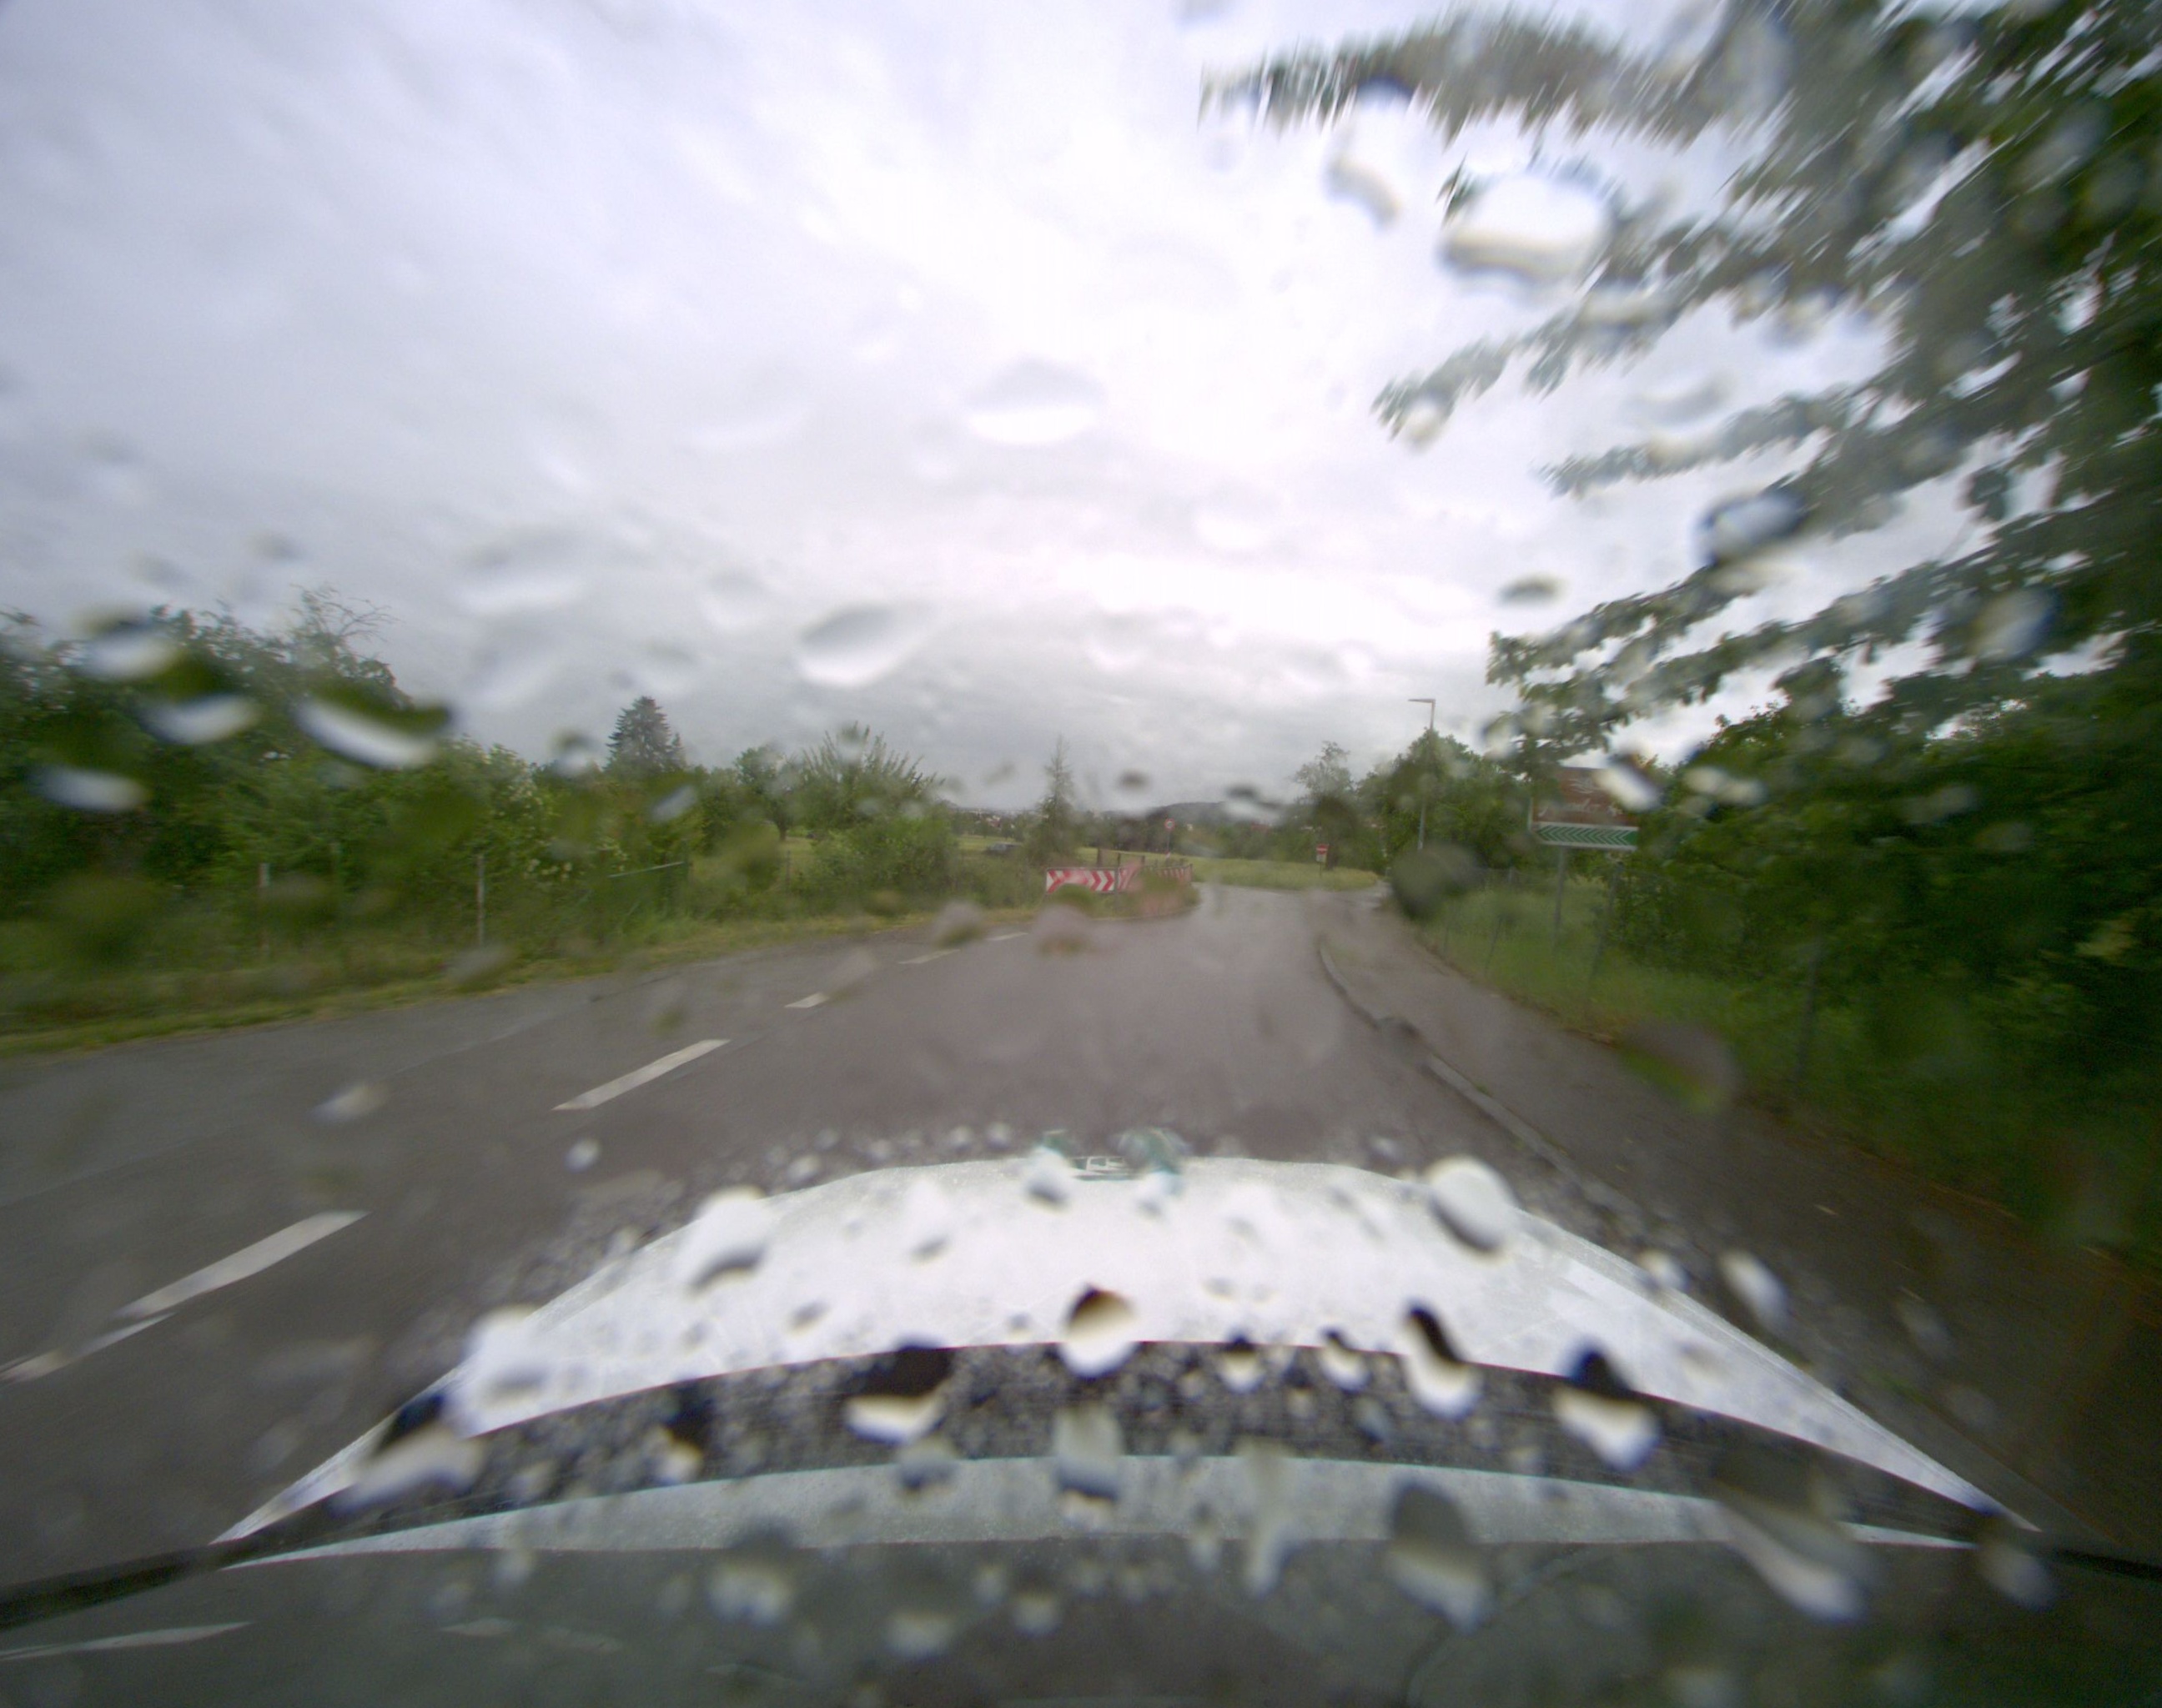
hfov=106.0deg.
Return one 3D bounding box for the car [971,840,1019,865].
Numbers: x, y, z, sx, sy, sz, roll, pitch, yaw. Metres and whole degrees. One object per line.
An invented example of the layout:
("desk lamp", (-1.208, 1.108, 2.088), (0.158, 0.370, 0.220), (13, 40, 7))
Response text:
("car", (-5.948, -0.154, 56.142), (1.826, 1.594, 3.962), (2, 0, -30))
